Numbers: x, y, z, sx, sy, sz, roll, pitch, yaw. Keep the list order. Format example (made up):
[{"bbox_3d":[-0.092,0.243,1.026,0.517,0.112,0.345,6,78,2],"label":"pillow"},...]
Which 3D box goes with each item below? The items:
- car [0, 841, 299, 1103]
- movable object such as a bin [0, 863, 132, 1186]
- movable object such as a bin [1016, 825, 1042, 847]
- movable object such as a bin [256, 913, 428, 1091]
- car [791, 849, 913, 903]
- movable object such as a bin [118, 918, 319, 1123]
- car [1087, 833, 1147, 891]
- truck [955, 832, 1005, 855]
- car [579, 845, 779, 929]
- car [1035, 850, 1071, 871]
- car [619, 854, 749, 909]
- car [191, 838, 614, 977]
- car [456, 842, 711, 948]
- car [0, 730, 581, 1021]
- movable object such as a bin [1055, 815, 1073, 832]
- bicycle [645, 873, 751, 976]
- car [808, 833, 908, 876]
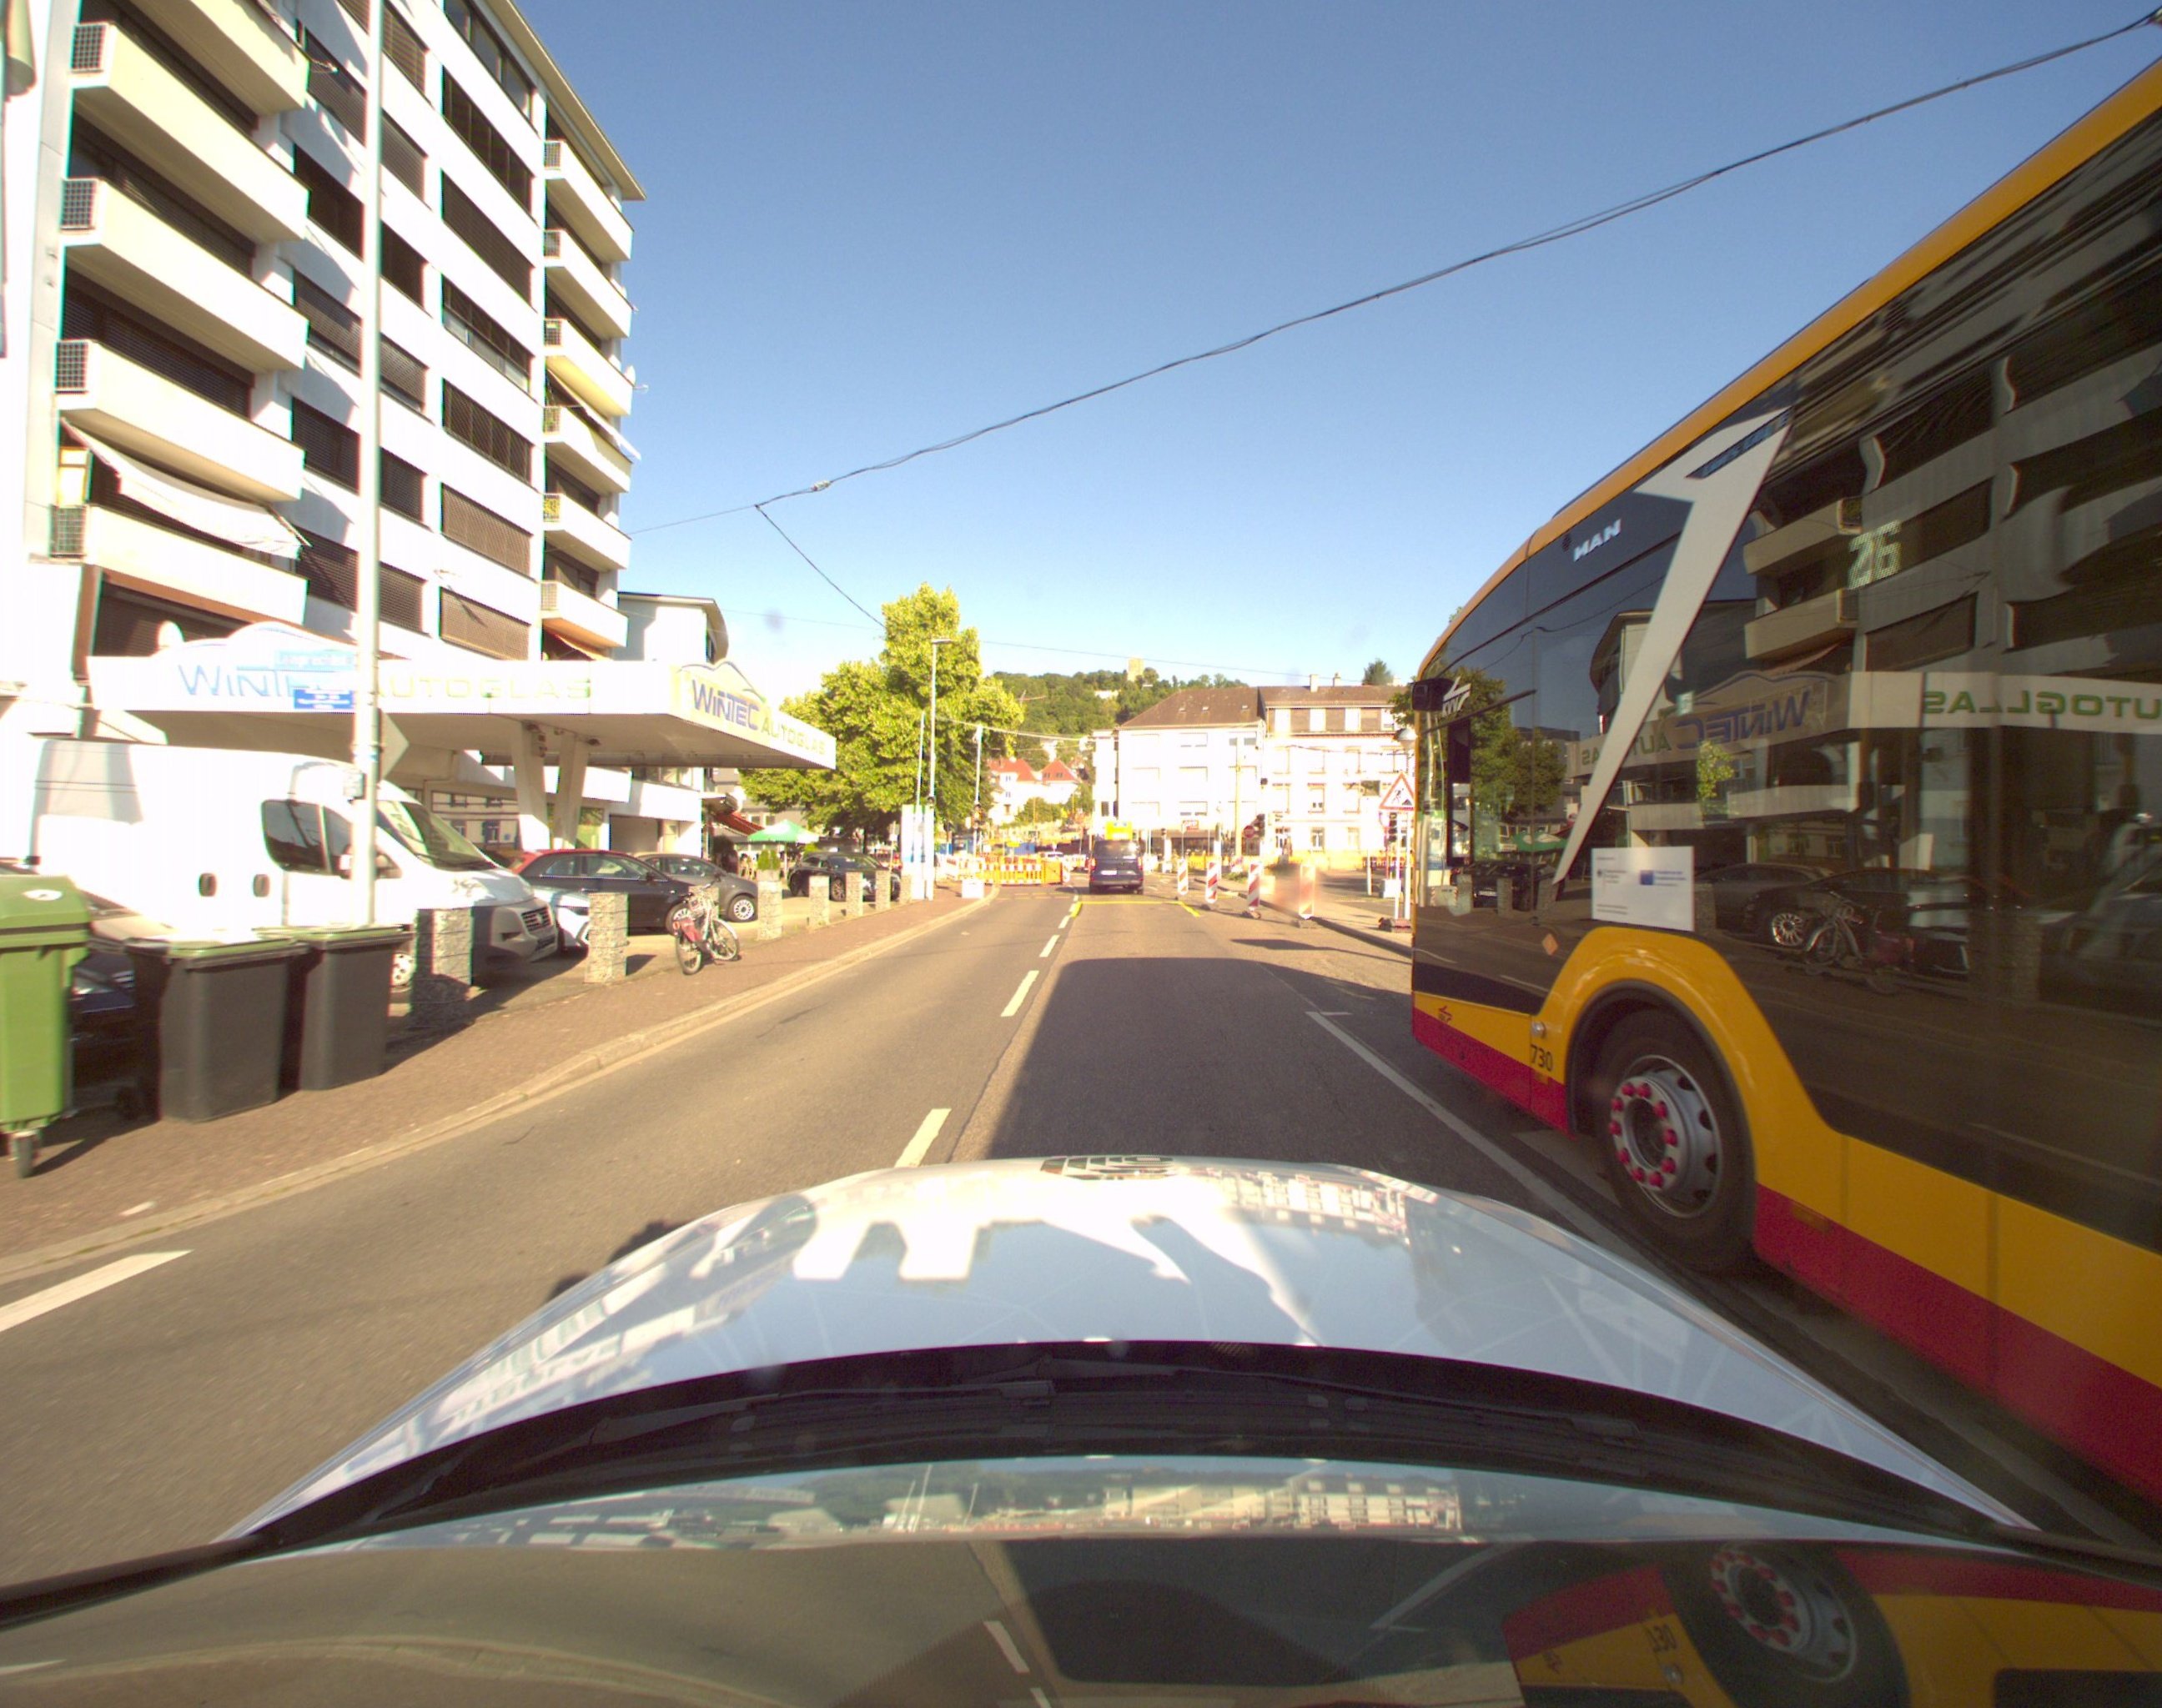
[{"bbox_3d":[-8.292,0.692,5.471,3.990,1.568,1.765,1,0,-13],"label":"car"},{"bbox_3d":[-5.722,0.836,3.893,1.045,1.482,1.321,2,3,30],"label":"movable object such as a bin"},{"bbox_3d":[-6.435,-2.166,101.641,2.175,2.690,4.015,0,0,13],"label":"movable object such as a bin"},{"bbox_3d":[-5.061,0.981,5.603,0.635,1.069,0.582,1,3,14],"label":"movable object such as a bin"},{"bbox_3d":[-7.160,0.618,25.170,1.921,1.454,4.261,1,0,-42],"label":"car"},{"bbox_3d":[-5.225,0.974,4.959,0.655,1.062,0.587,2,2,14],"label":"movable object such as a bin"},{"bbox_3d":[1.356,0.309,30.762,2.054,2.014,5.002,1,-1,2],"label":"car"},{"bbox_3d":[-11.235,-1.124,91.264,2.339,2.415,9.187,0,0,14],"label":"truck"},{"bbox_3d":[-8.349,0.624,17.109,1.601,1.568,3.414,0,0,41],"label":"car"},{"bbox_3d":[-2.021,0.464,58.300,1.797,1.409,3.981,0,0,-14],"label":"car"},{"bbox_3d":[-10.606,0.674,22.096,1.582,1.284,4.137,0,1,-2],"label":"car"},{"bbox_3d":[-8.595,0.610,10.852,4.009,1.568,1.757,1,0,-28],"label":"car"},{"bbox_3d":[-8.326,0.614,13.795,3.413,1.568,1.602,0,0,-45],"label":"car"},{"bbox_3d":[-8.321,0.196,8.341,5.072,2.469,2.095,1,0,-20],"label":"car"},{"bbox_3d":[-2.801,-5.115,136.110,2.175,2.690,4.015,0,0,13],"label":"movable object such as a bin"},{"bbox_3d":[-4.903,0.856,10.557,0.722,1.178,1.776,0,0,-7],"label":"bicycle"},{"bbox_3d":[-8.298,-0.014,30.084,4.246,1.454,1.660,2,0,45],"label":"car"}]
